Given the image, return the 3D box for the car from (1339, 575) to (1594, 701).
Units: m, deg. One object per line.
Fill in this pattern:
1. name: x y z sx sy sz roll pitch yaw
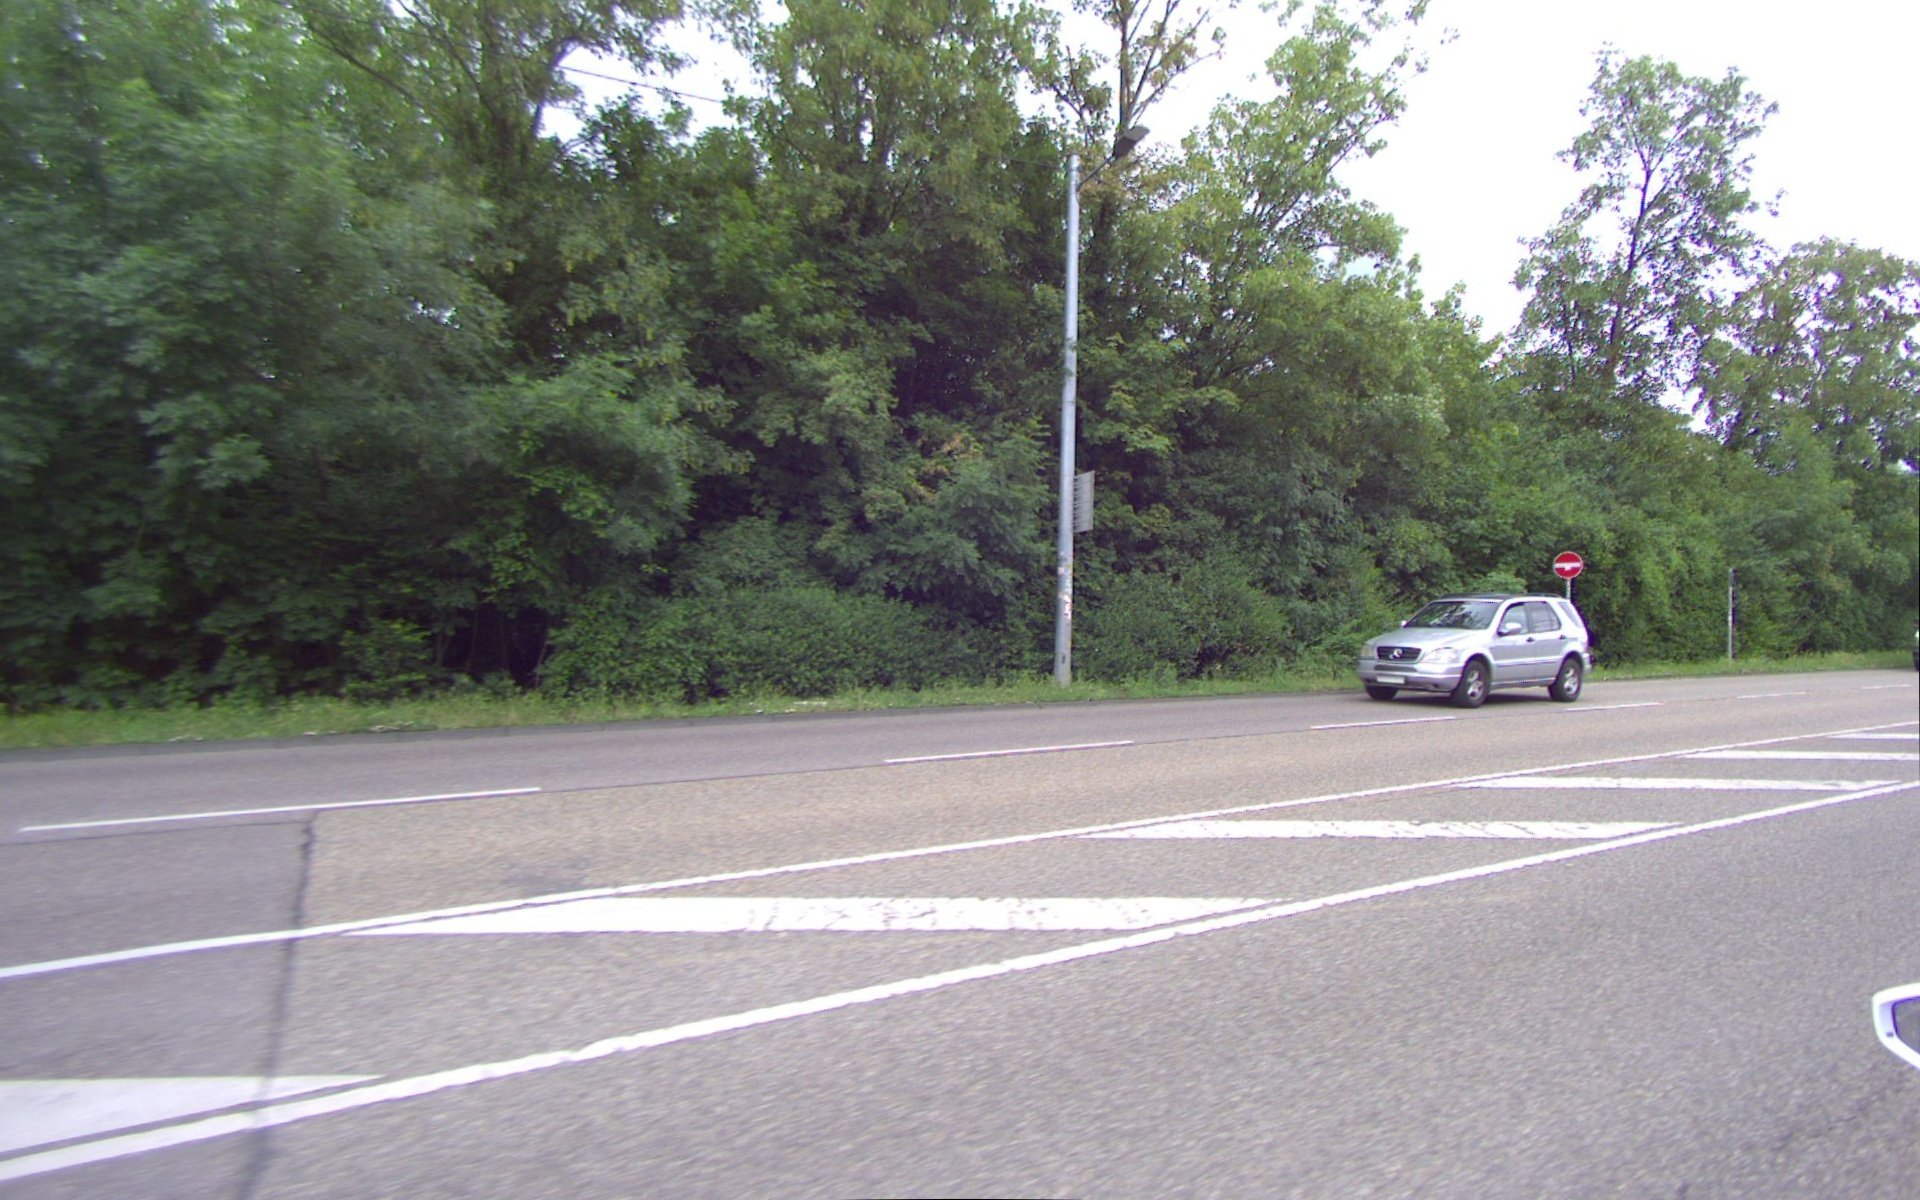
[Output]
1. car: 8.474 0.559 16.712 4.333 1.855 1.804 0 0 -32

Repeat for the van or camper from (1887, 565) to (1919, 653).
1. van or camper: 31.483 0.303 31.097 6.782 2.589 2.270 0 3 -32
